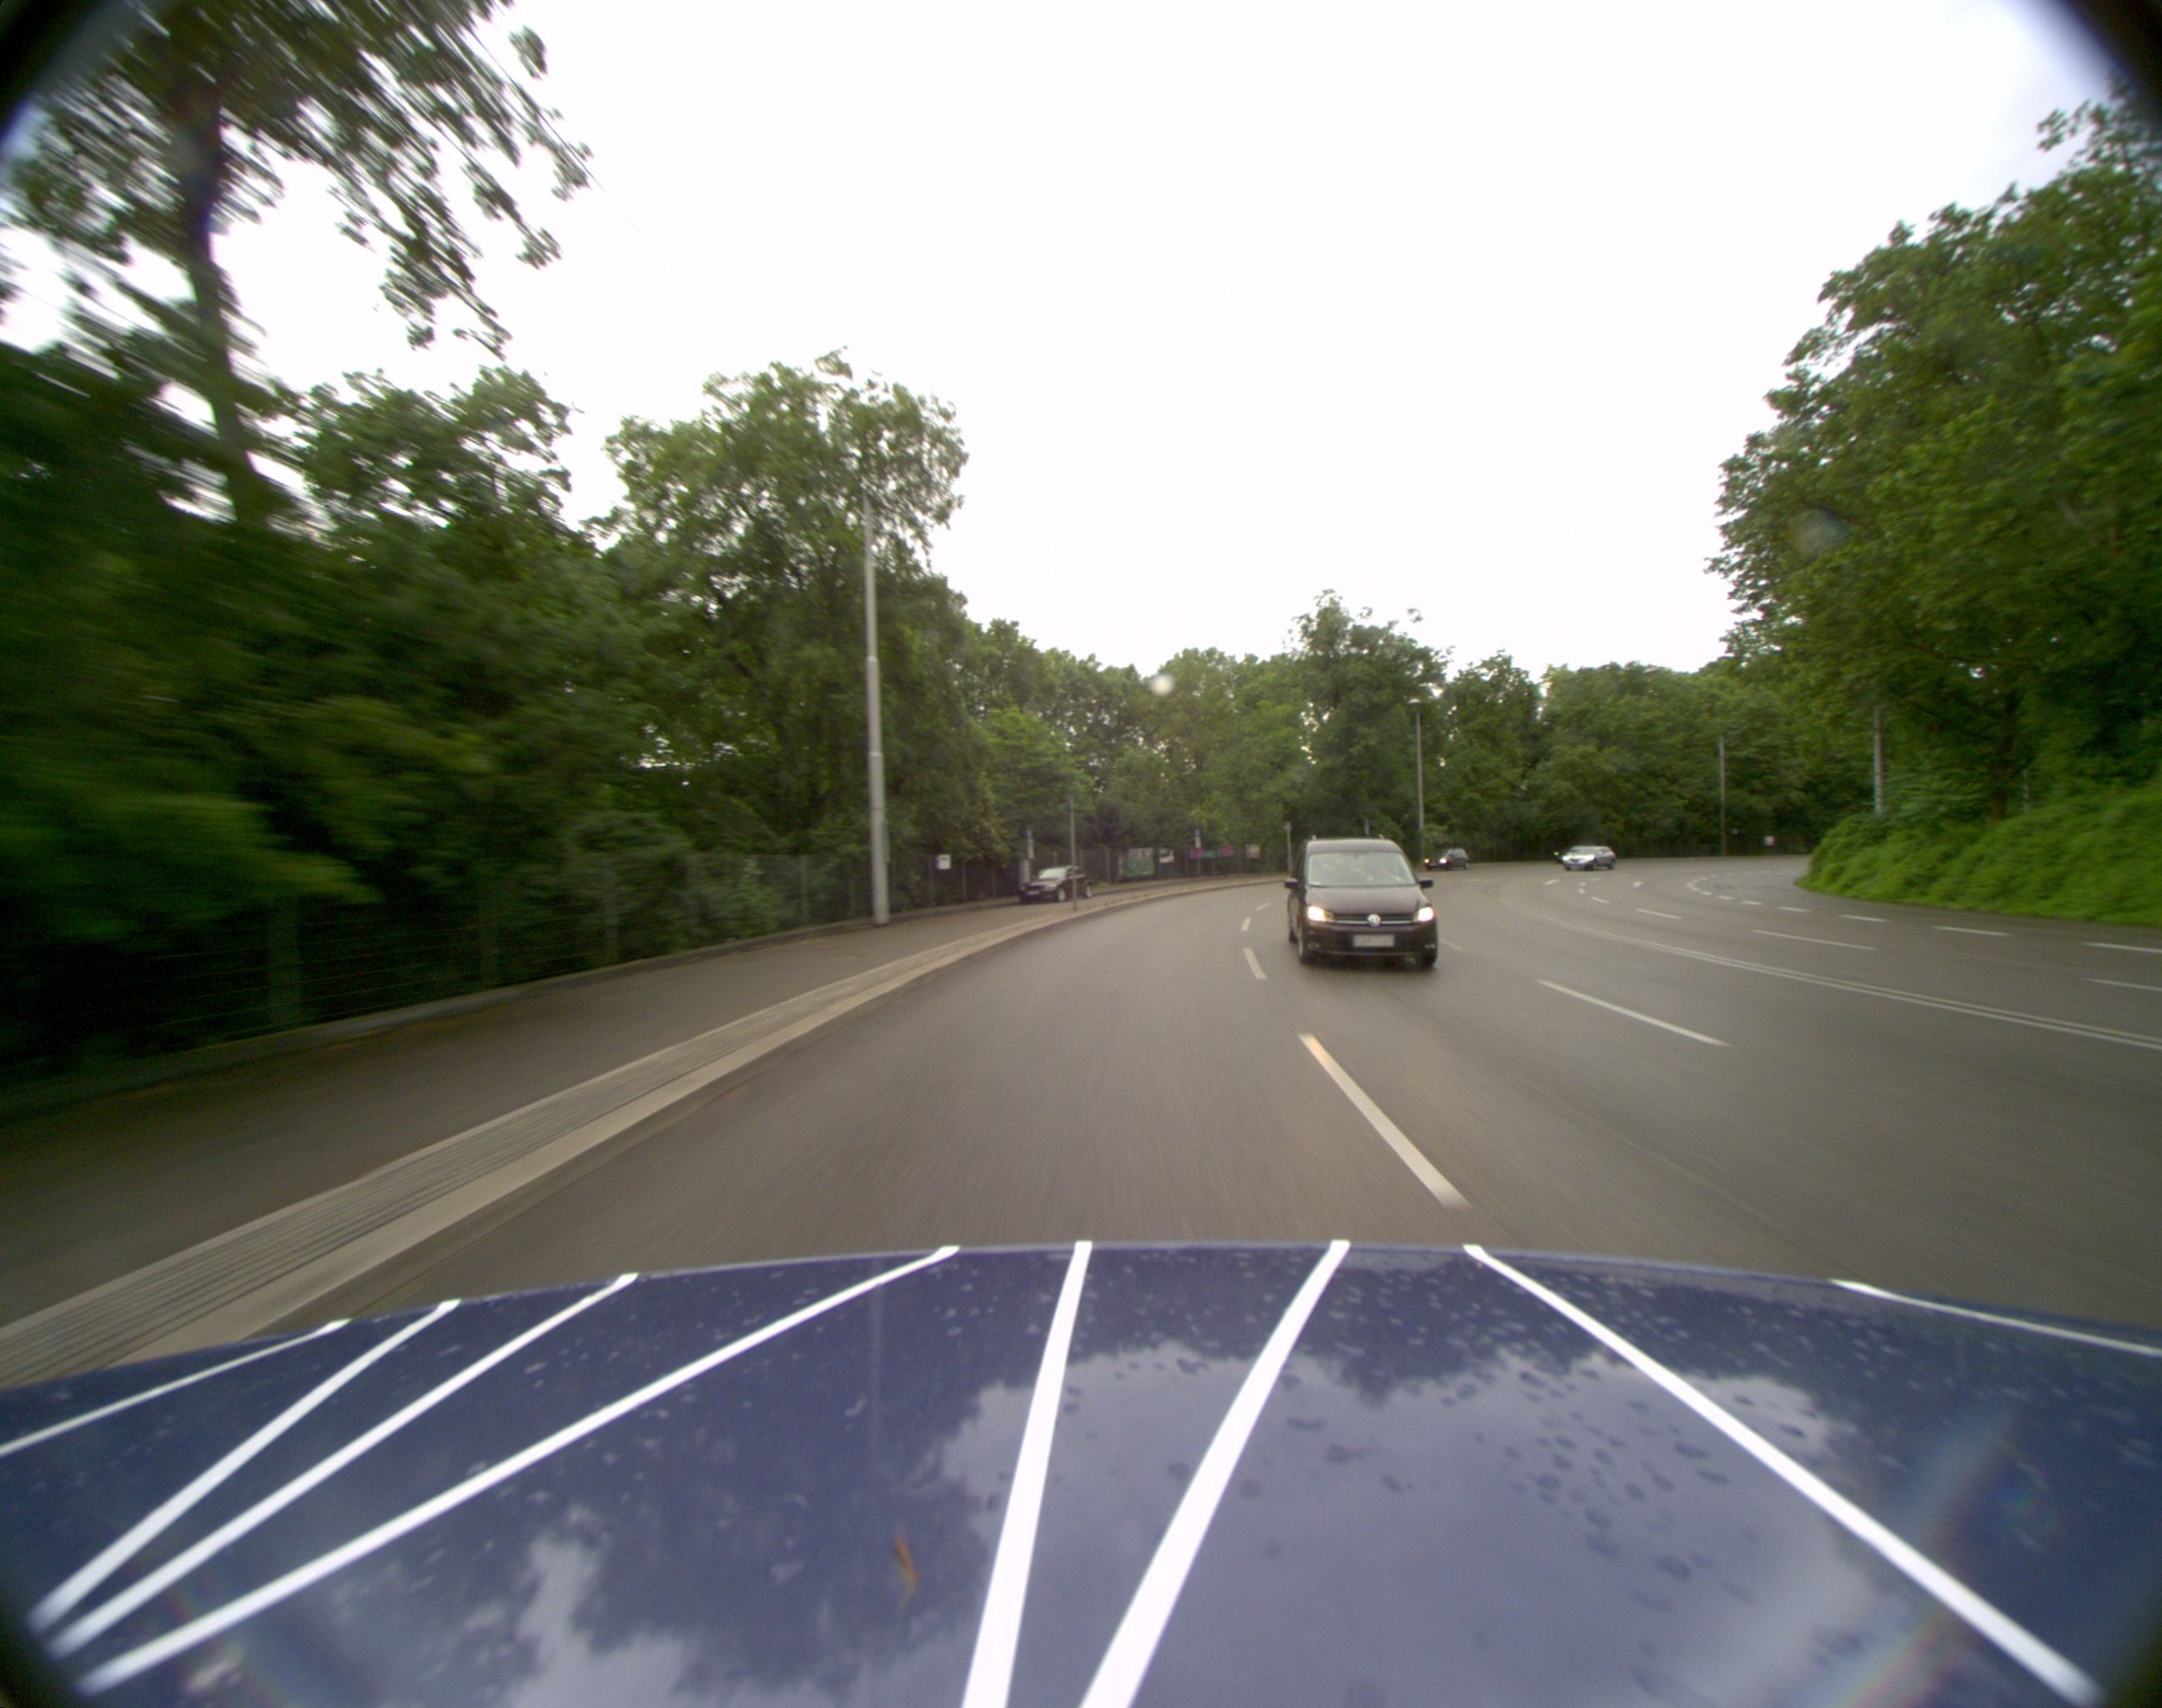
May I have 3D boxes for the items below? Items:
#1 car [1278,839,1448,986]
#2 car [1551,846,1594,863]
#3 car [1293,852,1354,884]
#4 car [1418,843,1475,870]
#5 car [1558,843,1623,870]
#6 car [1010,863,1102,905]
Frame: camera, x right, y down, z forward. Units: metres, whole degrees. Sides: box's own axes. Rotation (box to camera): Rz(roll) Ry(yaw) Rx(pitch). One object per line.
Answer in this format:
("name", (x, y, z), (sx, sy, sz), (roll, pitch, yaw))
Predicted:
("car", (4.007, 0.713, 11.450), (1.793, 1.789, 4.129), (0, 0, 12))
("car", (40.856, 0.025, 63.181), (3.110, 1.325, 1.579), (-2, 1, -24))
("car", (12.464, 0.699, 38.919), (1.791, 1.444, 4.008), (-1, 1, 35))
("car", (25.980, 0.170, 53.967), (4.007, 1.735, 1.995), (-2, 1, -38))
("car", (34.940, 0.143, 52.056), (4.662, 1.735, 1.995), (-2, 1, -32))
("car", (-0.923, 1.163, 30.584), (1.874, 1.368, 4.181), (-6, -2, 25))
